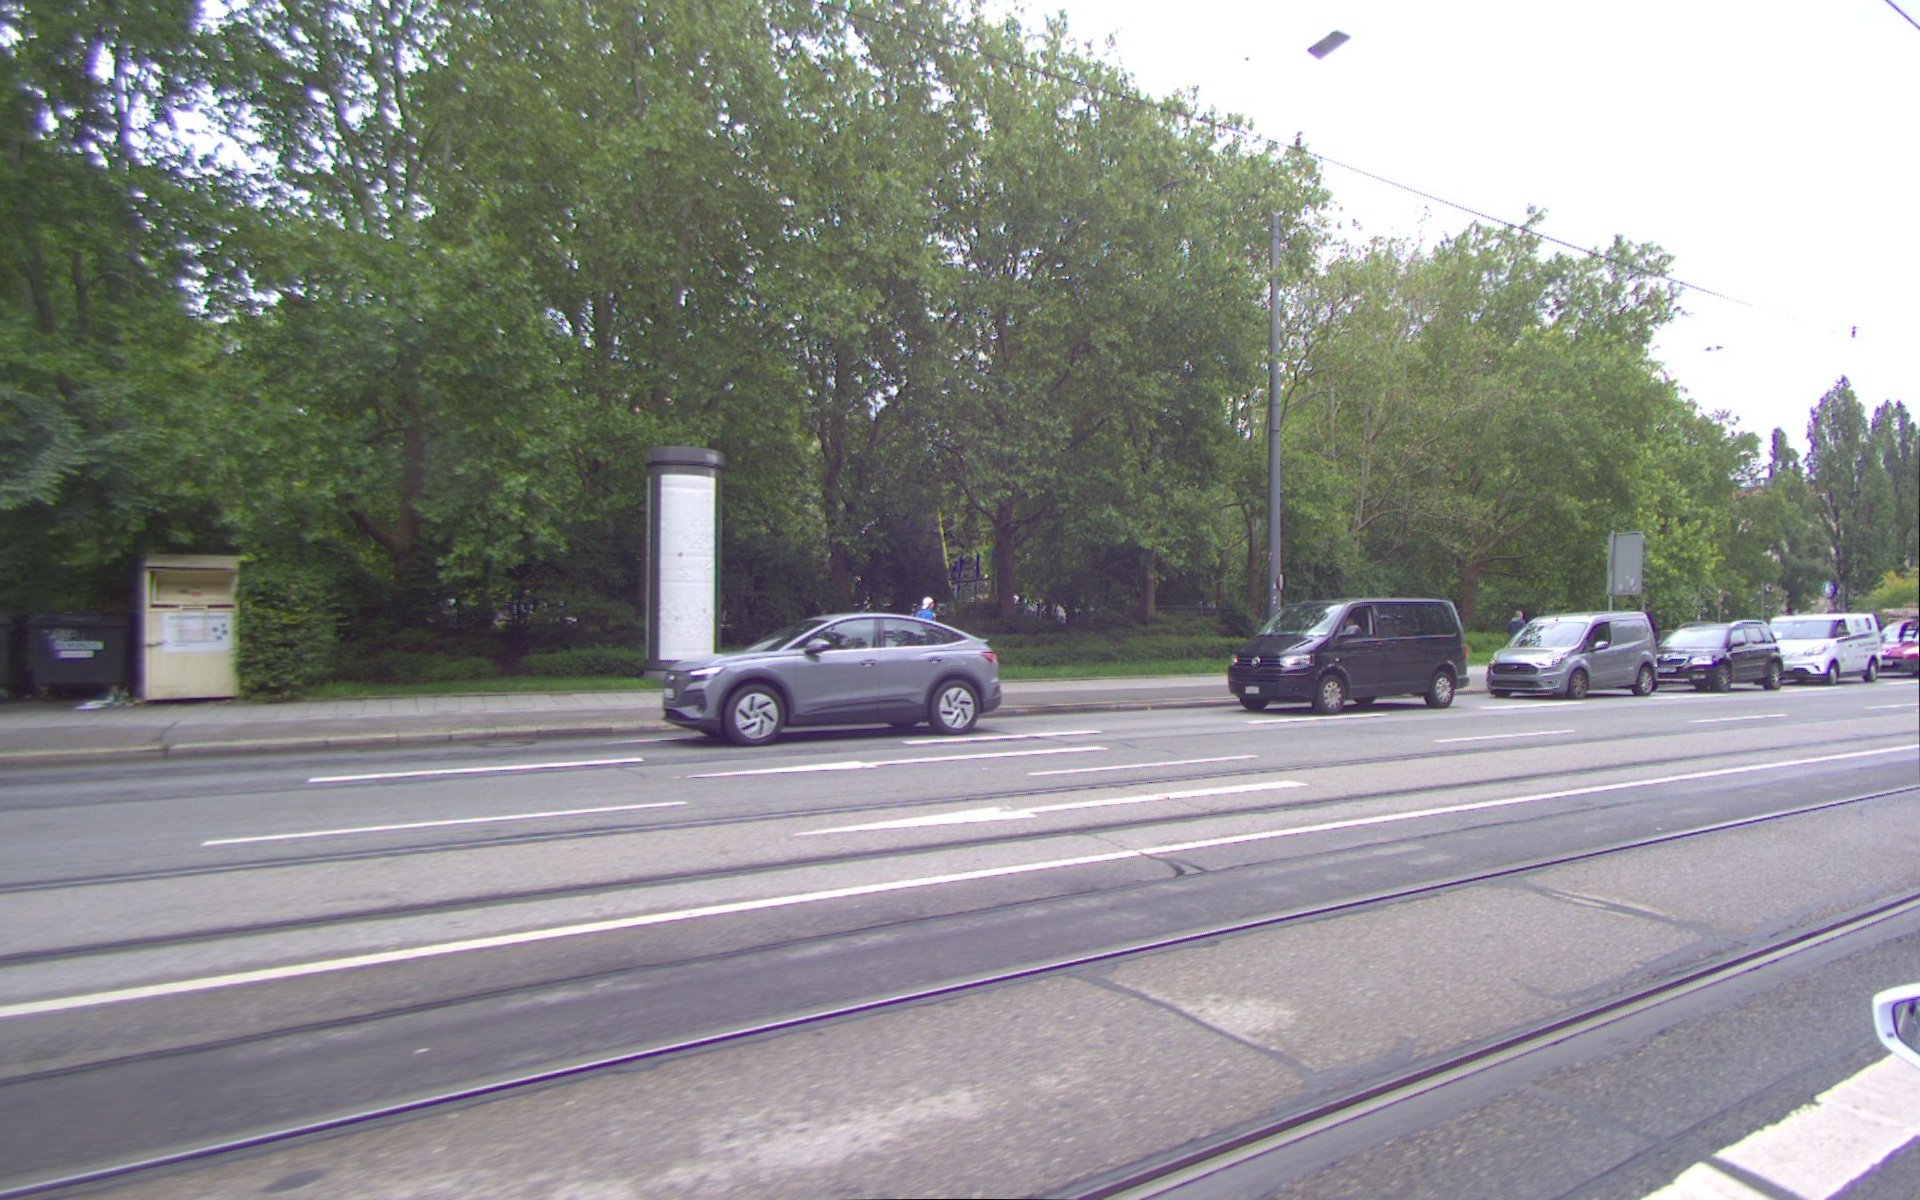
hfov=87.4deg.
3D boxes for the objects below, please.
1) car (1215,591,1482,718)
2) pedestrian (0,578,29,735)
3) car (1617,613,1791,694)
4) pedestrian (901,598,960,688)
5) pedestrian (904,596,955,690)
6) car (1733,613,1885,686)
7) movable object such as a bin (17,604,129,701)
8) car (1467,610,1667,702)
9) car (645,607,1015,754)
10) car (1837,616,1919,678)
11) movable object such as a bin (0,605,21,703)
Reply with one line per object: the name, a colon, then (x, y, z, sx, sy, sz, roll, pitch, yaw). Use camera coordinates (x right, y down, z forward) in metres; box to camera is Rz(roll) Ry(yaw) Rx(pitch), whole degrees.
car: (7.031, 0.923, 18.015, 4.980, 2.017, 1.791, 1, -2, -31)
pedestrian: (-12.877, 0.742, 13.236, 0.670, 2.041, 0.613, -1, 1, -23)
car: (18.263, 1.287, 24.618, 4.466, 1.812, 1.791, 1, -3, -31)
pedestrian: (-0.583, 0.831, 19.809, 0.974, 1.707, 0.663, -1, 1, -22)
pedestrian: (-0.607, 0.847, 19.845, 0.806, 1.813, 0.663, 1, 0, -22)
car: (23.540, 1.352, 27.815, 4.577, 1.885, 1.791, 1, -3, -31)
movable object such as a bin: (-13.423, 0.770, 15.245, 1.147, 1.371, 0.928, 1, 2, -35)
car: (13.203, 1.193, 21.801, 4.466, 1.812, 1.791, 1, -3, -31)
car: (-1.640, 0.964, 13.261, 4.535, 1.656, 1.791, 1, -2, -31)
car: (29.361, 1.428, 30.834, 4.452, 1.812, 1.797, 1, -3, -22)
movable object such as a bin: (-14.514, 0.775, 14.575, 1.147, 1.371, 0.928, 1, 2, -35)
